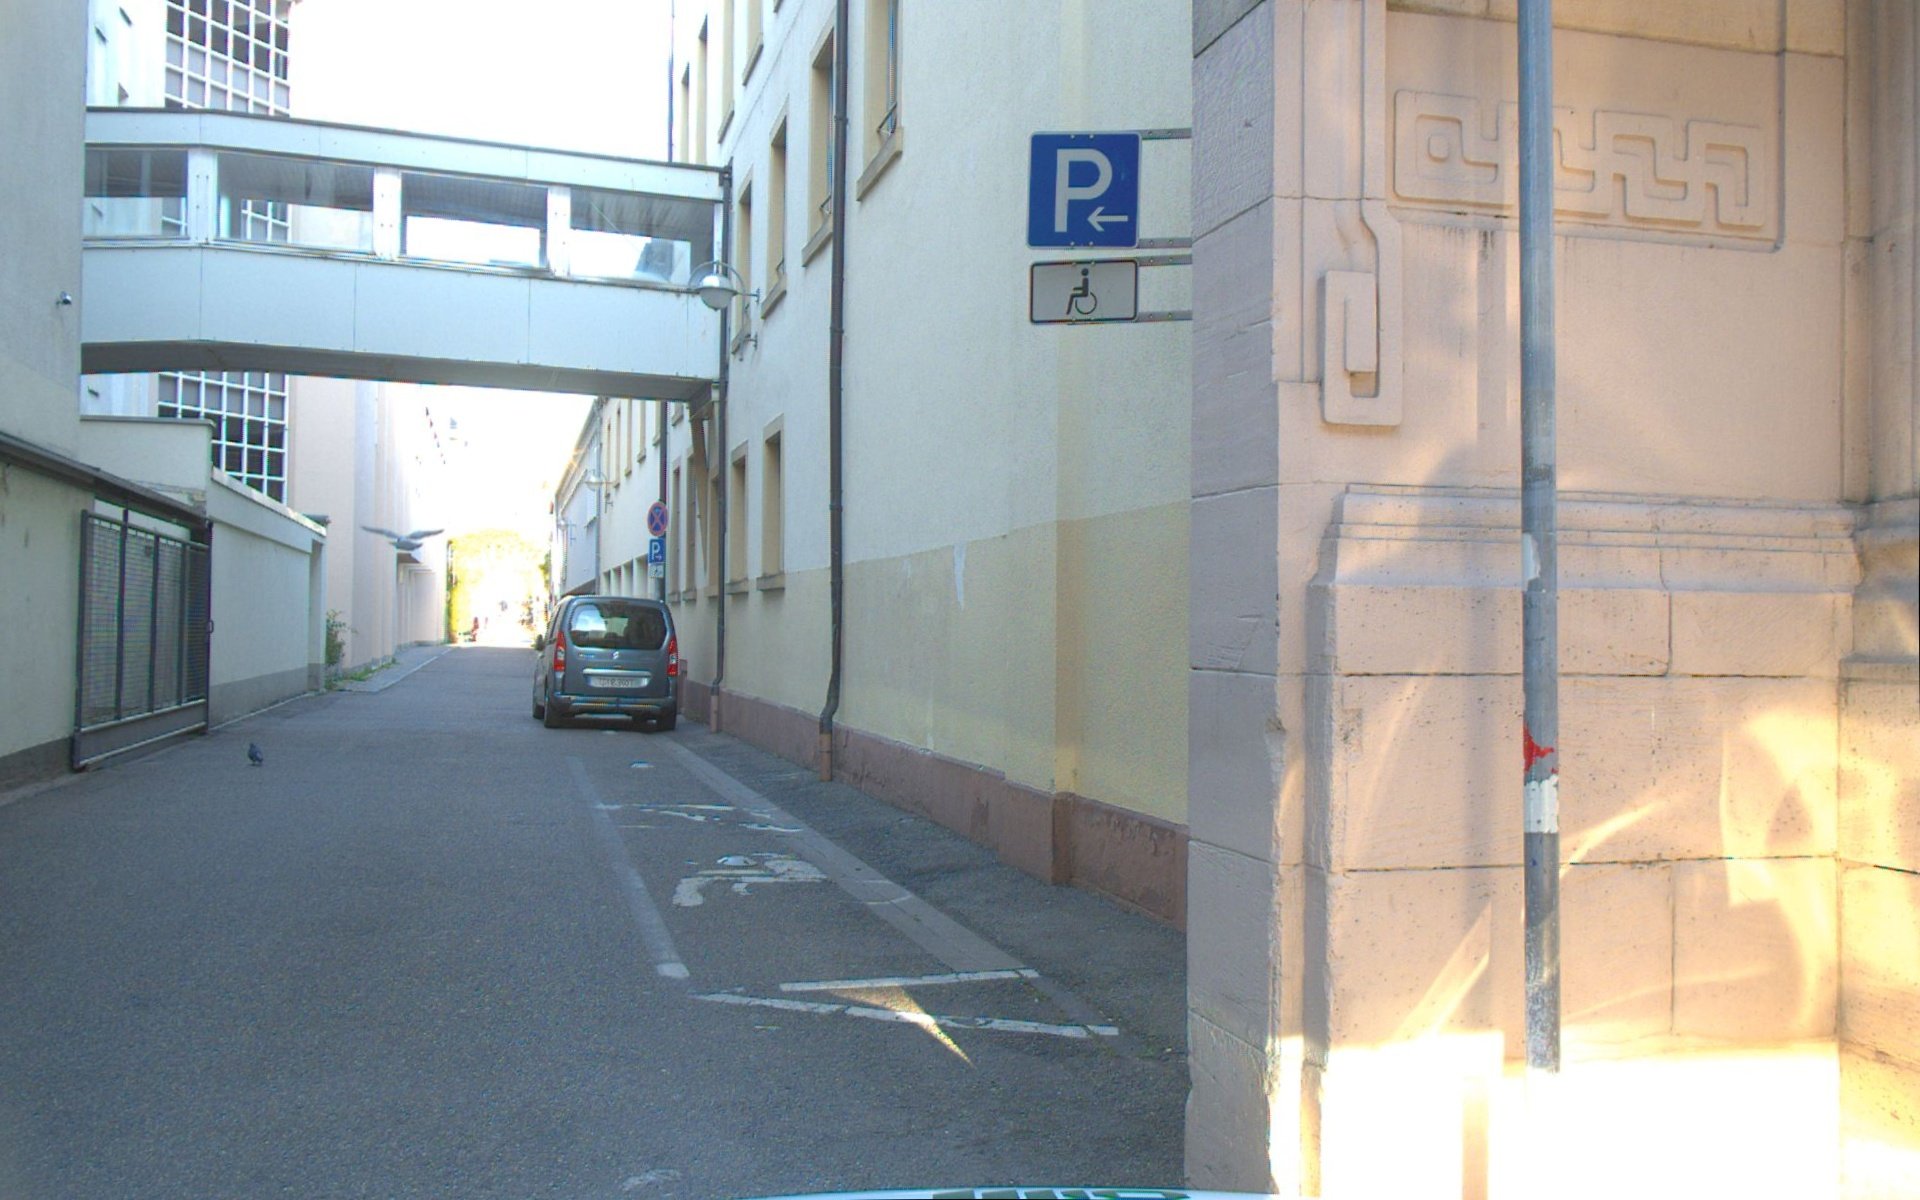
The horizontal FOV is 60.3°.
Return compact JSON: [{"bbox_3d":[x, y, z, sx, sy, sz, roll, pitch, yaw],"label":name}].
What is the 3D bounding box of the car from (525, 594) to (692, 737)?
[{"bbox_3d":[-5.159,0.891,23.879,1.827,1.786,4.140,4,-2,-18],"label":"car"}]
